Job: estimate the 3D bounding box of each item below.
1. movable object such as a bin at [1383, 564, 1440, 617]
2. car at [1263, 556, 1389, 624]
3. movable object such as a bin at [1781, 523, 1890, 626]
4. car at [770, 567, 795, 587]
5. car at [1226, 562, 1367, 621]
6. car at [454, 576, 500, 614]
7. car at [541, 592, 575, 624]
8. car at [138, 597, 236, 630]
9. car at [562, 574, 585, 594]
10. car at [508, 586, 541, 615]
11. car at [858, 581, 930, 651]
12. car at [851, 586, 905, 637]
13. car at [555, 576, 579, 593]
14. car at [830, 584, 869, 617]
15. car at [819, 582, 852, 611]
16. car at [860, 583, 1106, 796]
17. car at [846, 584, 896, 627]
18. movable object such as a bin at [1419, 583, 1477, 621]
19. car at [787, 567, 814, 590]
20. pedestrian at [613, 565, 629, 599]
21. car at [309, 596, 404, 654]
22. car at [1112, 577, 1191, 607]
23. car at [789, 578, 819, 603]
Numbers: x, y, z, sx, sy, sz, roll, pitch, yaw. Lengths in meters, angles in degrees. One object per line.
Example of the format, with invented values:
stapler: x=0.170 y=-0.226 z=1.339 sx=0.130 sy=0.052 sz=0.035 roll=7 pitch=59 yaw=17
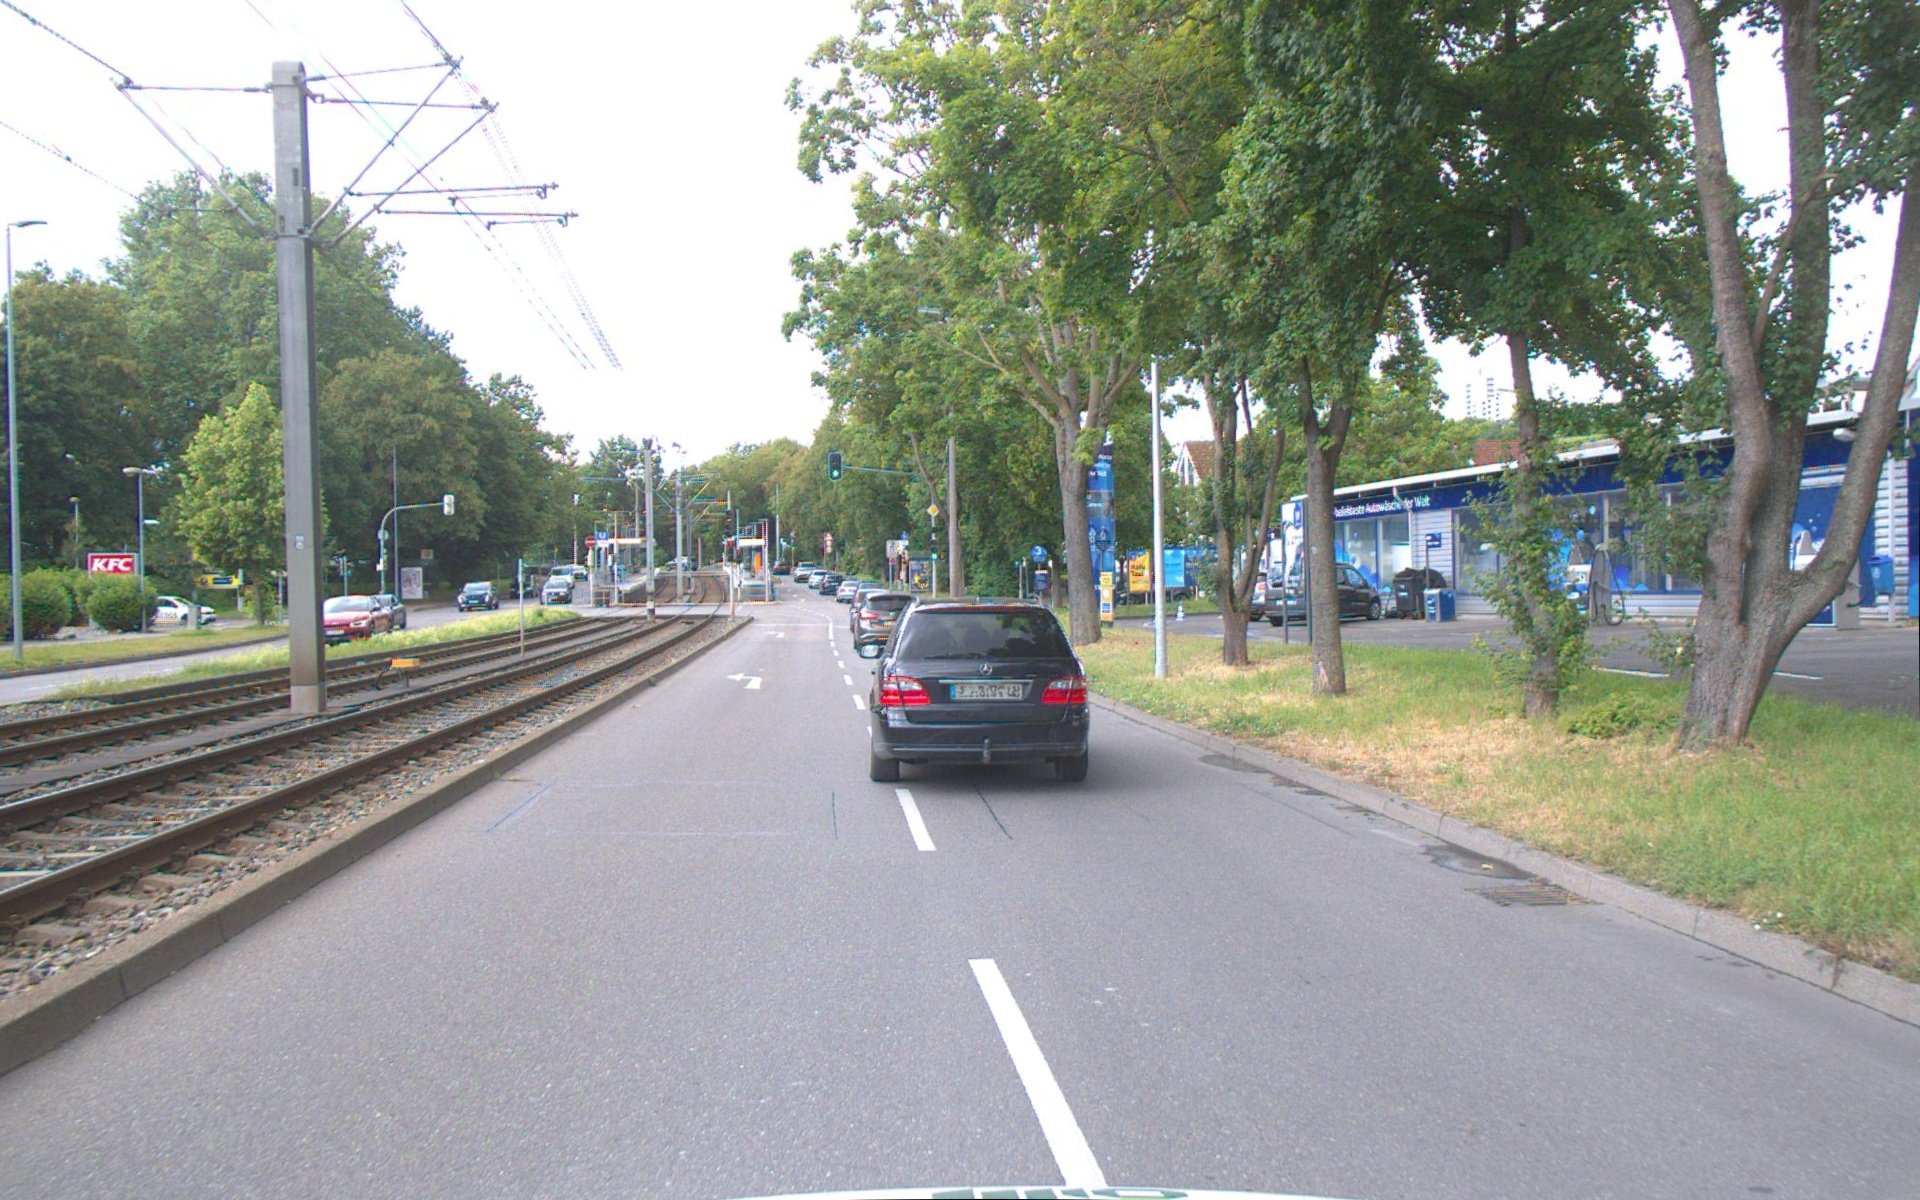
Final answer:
movable object such as a bin: x=13.367 y=-0.285 z=49.008 sx=1.137 sy=1.500 sz=1.384 roll=-2 pitch=0 yaw=-9
car: x=10.815 y=-0.318 z=48.744 sx=1.720 sy=1.853 sz=4.359 roll=-1 pitch=1 yaw=41
movable object such as a bin: x=16.472 y=-0.476 z=31.145 sx=1.137 sy=1.850 sz=1.452 roll=-2 pitch=0 yaw=-9
car: x=-19.123 y=-2.459 z=178.330 sx=1.962 sy=2.049 sz=3.981 roll=1 pitch=0 yaw=-17
car: x=10.764 y=-0.280 z=52.917 sx=4.143 sy=1.727 sz=1.827 roll=-2 pitch=1 yaw=-24
car: x=-27.271 y=-0.269 z=93.564 sx=1.957 sy=2.049 sz=4.238 roll=-1 pitch=0 yaw=-10
car: x=-24.968 y=0.469 z=102.822 sx=1.666 sy=1.893 sz=3.992 roll=1 pitch=0 yaw=-9
car: x=-36.998 y=0.628 z=79.270 sx=3.805 sy=1.432 sz=1.844 roll=-2 pitch=1 yaw=-7
car: x=-40.104 y=-1.638 z=171.613 sx=1.957 sy=2.049 sz=4.098 roll=-1 pitch=0 yaw=-10
car: x=-32.375 y=0.029 z=122.907 sx=1.957 sy=2.049 sz=4.098 roll=-1 pitch=0 yaw=-10
car: x=-1.712 y=0.384 z=42.618 sx=1.746 sy=1.677 sz=3.998 roll=1 pitch=0 yaw=-3
car: x=-2.804 y=0.377 z=56.721 sx=1.746 sy=1.677 sz=3.998 roll=1 pitch=0 yaw=-3
car: x=-35.013 y=-1.381 z=147.476 sx=1.655 sy=1.471 sz=3.992 roll=-3 pitch=1 yaw=-9
car: x=-6.712 y=0.015 z=100.339 sx=1.957 sy=1.926 sz=3.992 roll=1 pitch=0 yaw=-9
car: x=-8.994 y=-0.270 z=119.243 sx=1.957 sy=2.001 sz=3.992 roll=1 pitch=0 yaw=-9
car: x=0.059 y=0.664 z=14.269 sx=1.747 sy=1.552 sz=3.996 roll=1 pitch=0 yaw=-4
car: x=-4.280 y=0.265 z=78.727 sx=1.957 sy=1.952 sz=3.992 roll=1 pitch=0 yaw=-9
movable object such as a bin: x=13.567 y=0.048 z=45.986 sx=1.137 sy=0.993 sz=1.186 roll=-2 pitch=0 yaw=-9
car: x=-14.758 y=-1.958 z=153.001 sx=1.959 sy=2.049 sz=3.987 roll=1 pitch=0 yaw=-13
pedestrian: x=-22.322 y=-1.167 z=108.981 sx=0.951 sy=2.224 sz=0.974 roll=-1 pitch=1 yaw=-7
car: x=-18.444 y=0.724 z=50.734 sx=1.750 sy=1.609 sz=4.474 roll=-3 pitch=0 yaw=-8
car: x=10.432 y=-0.432 z=90.130 sx=4.067 sy=1.552 sz=1.704 roll=-1 pitch=0 yaw=0
car: x=-12.838 y=-0.778 z=135.841 sx=1.959 sy=2.049 sz=3.987 roll=1 pitch=0 yaw=-13
